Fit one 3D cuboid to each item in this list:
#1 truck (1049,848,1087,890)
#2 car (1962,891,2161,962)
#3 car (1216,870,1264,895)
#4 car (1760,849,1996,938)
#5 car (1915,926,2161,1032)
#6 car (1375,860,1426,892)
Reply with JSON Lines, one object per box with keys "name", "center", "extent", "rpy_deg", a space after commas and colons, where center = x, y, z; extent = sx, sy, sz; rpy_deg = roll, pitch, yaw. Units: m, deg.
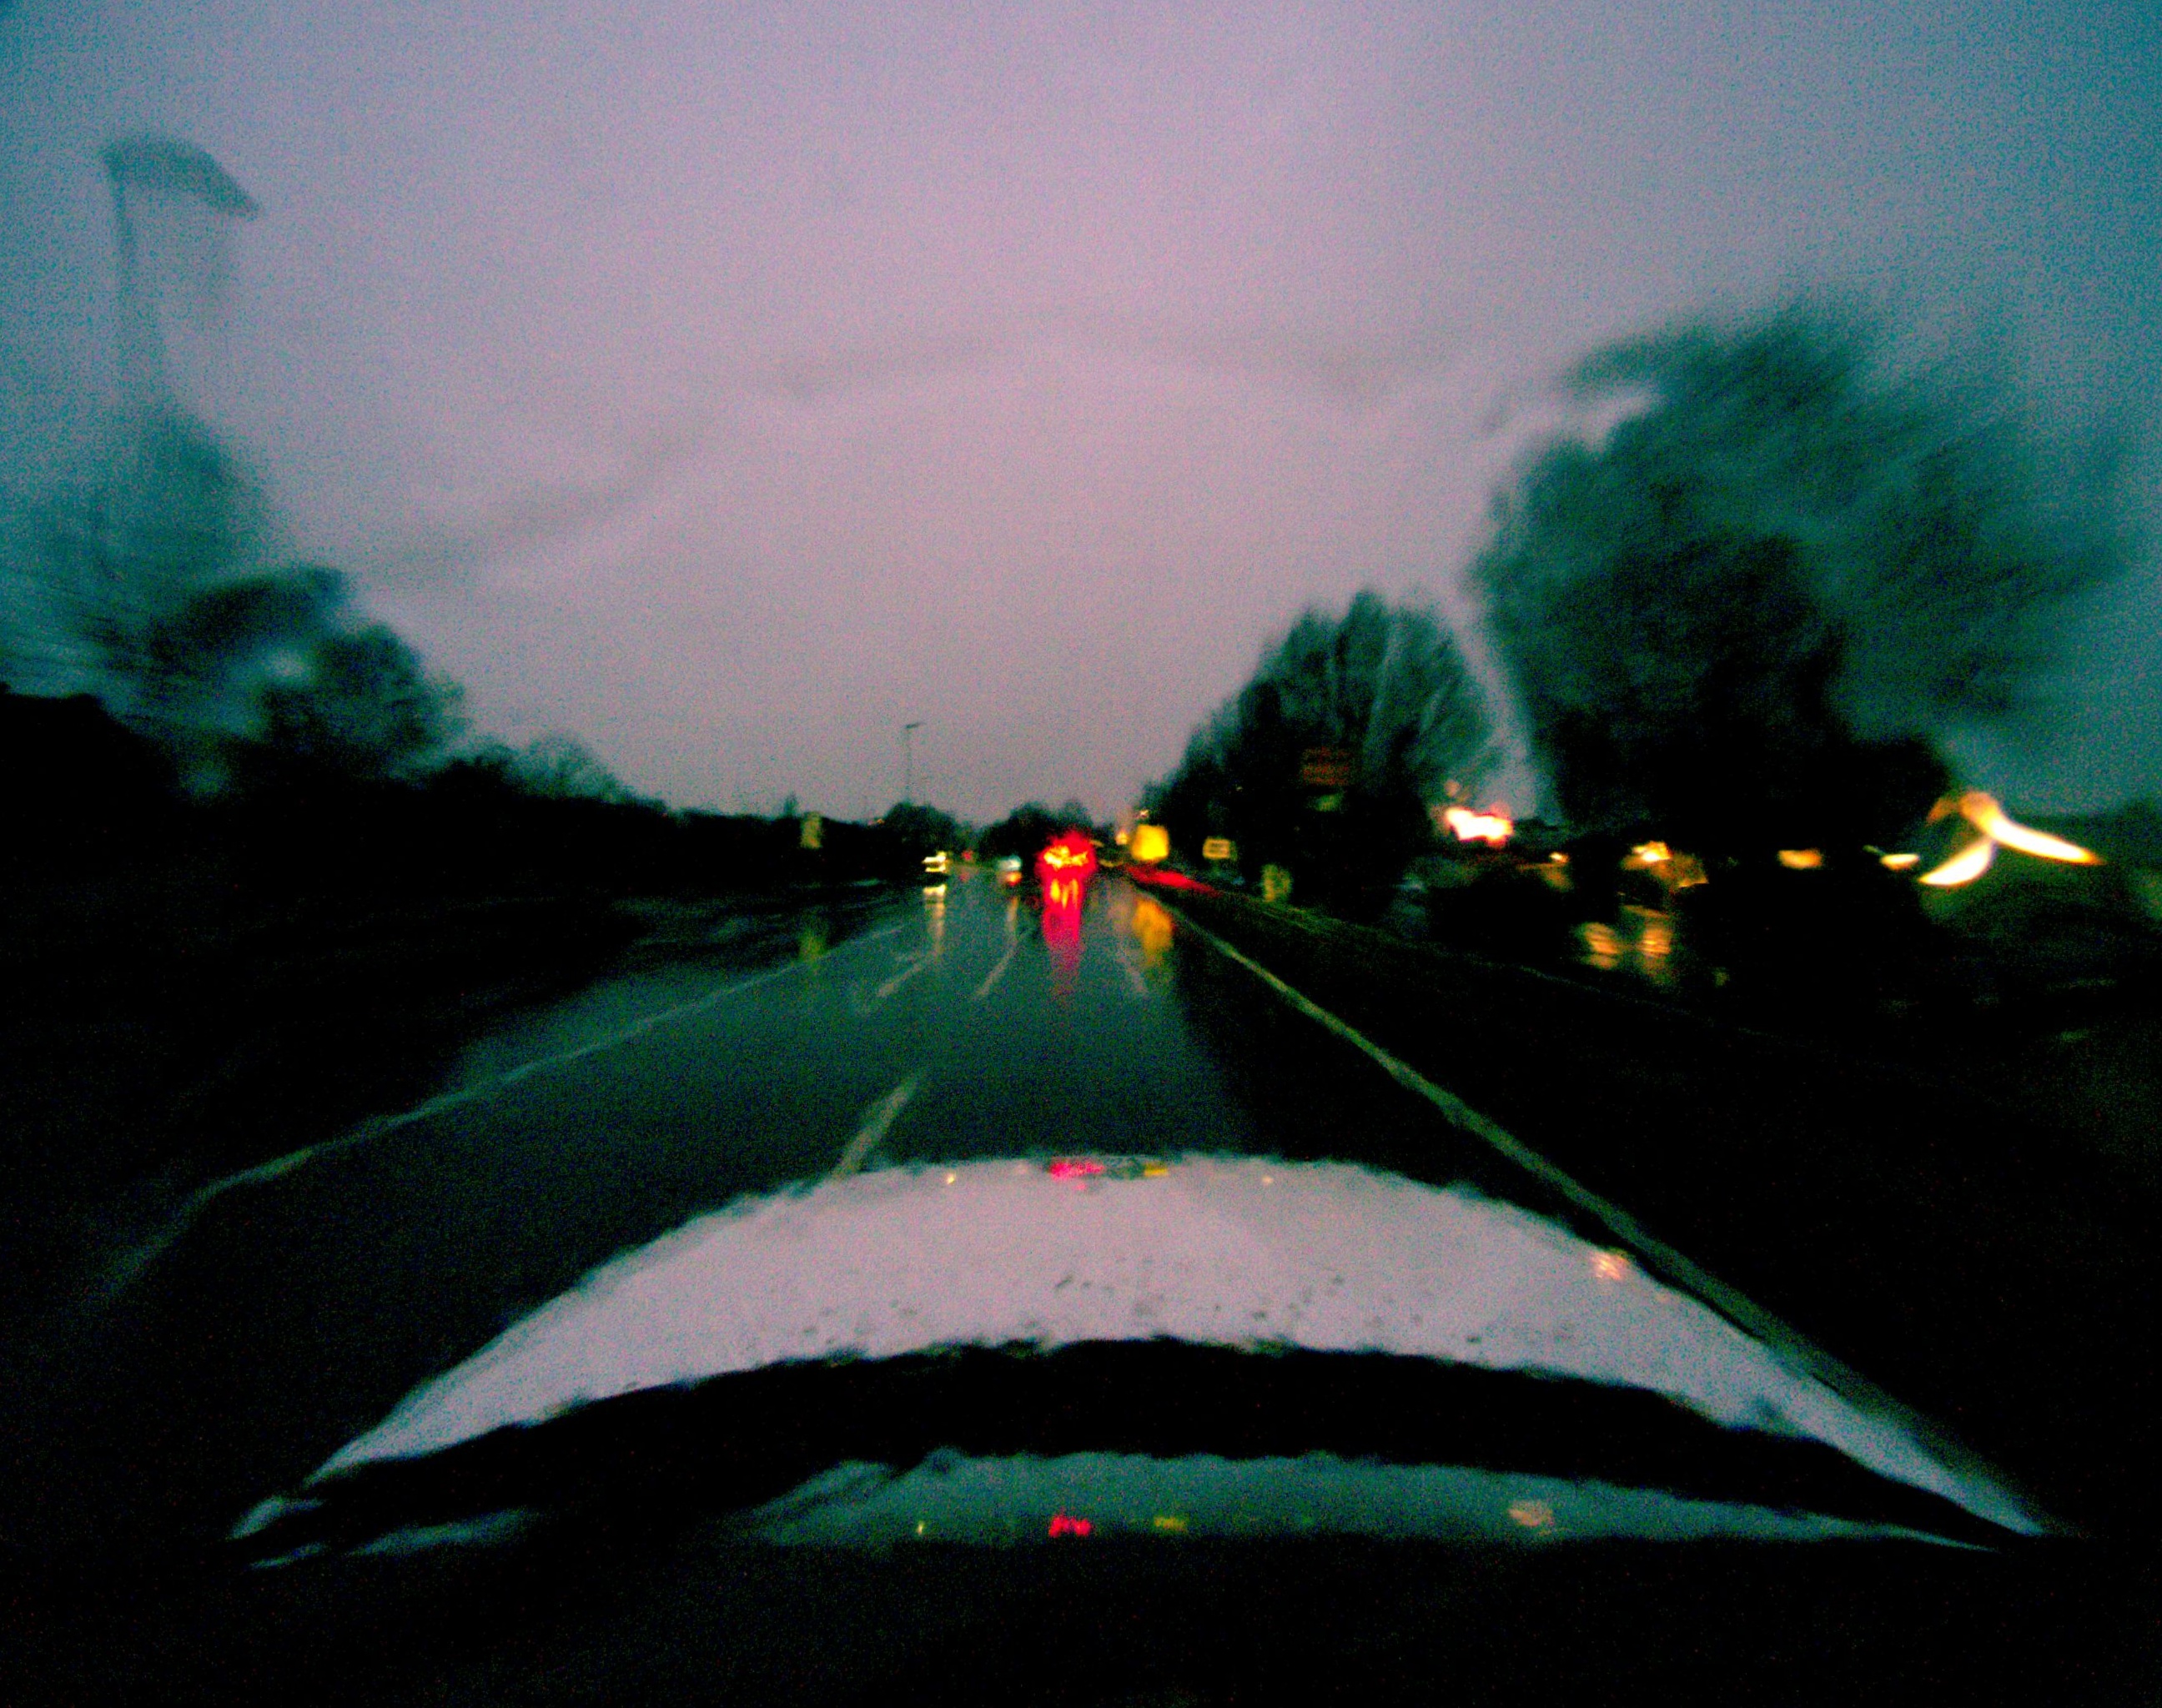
{"name": "truck", "center": [-0.922, 1.008, 58.975], "extent": [2.524, 2.869, 5.919], "rpy_deg": [1, 0, -1]}
{"name": "car", "center": [26.816, 1.881, 21.728], "extent": [4.310, 1.763, 2.113], "rpy_deg": [-2, -5, 44]}
{"name": "car", "center": [13.519, 2.456, 69.354], "extent": [3.963, 2.014, 2.004], "rpy_deg": [0, -3, 9]}
{"name": "car", "center": [27.191, 1.376, 28.109], "extent": [5.561, 2.777, 2.113], "rpy_deg": [-2, -5, 44]}
{"name": "car", "center": [15.644, 1.919, 12.875], "extent": [3.533, 1.424, 1.658], "rpy_deg": [1, -2, -8]}
{"name": "car", "center": [21.679, 1.436, 55.492], "extent": [1.986, 2.013, 4.002], "rpy_deg": [1, 0, 2]}
